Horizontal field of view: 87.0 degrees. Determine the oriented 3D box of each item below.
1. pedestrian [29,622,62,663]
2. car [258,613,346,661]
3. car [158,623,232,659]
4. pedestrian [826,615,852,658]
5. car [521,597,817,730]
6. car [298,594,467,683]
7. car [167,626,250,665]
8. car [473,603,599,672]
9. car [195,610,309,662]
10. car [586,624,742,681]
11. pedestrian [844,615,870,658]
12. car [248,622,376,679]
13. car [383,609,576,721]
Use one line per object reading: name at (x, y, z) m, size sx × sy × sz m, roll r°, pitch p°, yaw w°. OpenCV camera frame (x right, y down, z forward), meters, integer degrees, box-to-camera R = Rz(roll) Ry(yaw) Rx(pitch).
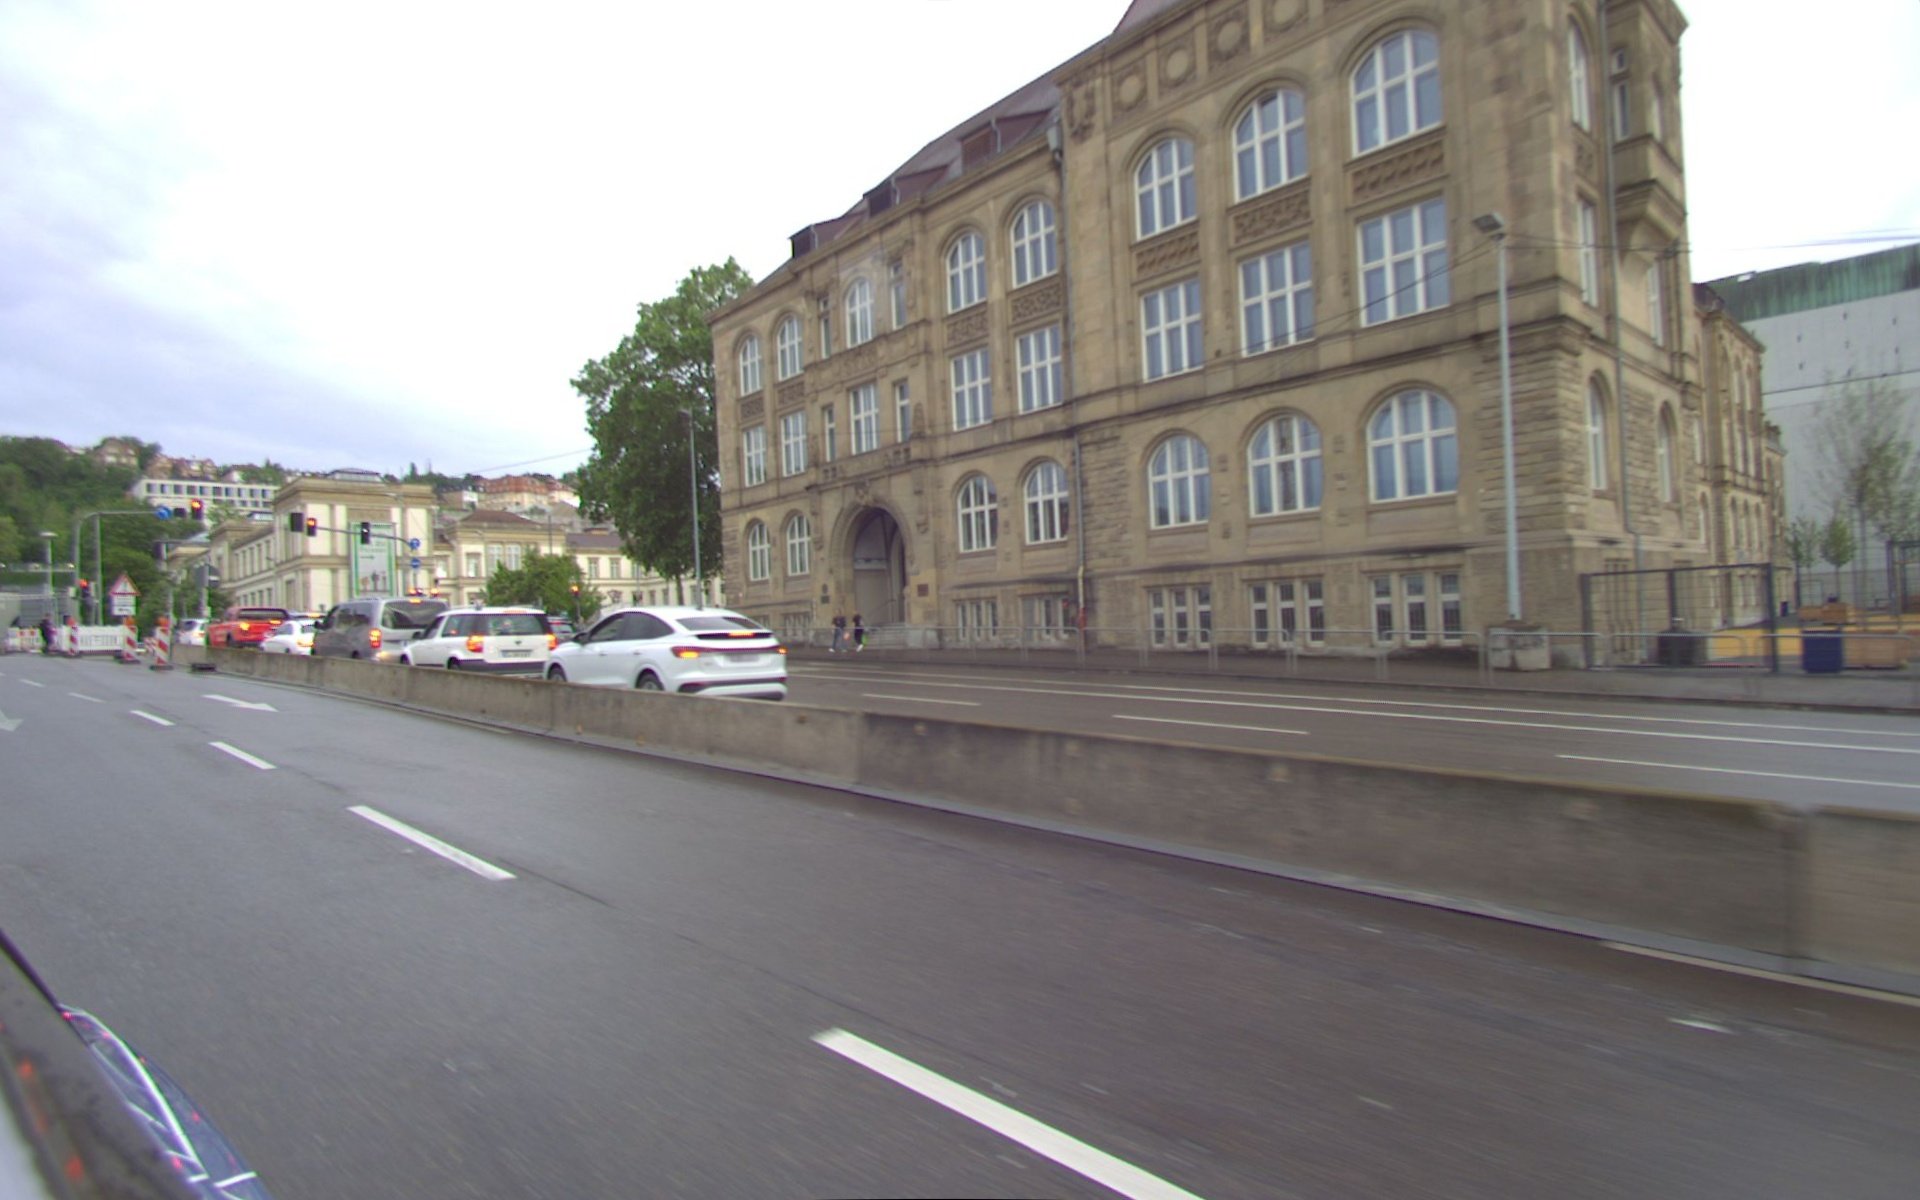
pedestrian at (-38.828, 1.789, 42.971) m, size 0.757 × 1.723 × 0.778 m, roll -1°, pitch -2°, yaw 22°
car at (-26.111, 1.457, 40.078) m, size 4.617 × 1.808 × 1.971 m, roll -2°, pitch -2°, yaw 45°
car at (-33.258, 1.750, 43.956) m, size 4.348 × 1.482 × 1.971 m, roll -2°, pitch -2°, yaw 45°
pedestrian at (-4.483, 1.345, 37.510) m, size 0.609 × 1.596 × 0.735 m, roll 2°, pitch -2°, yaw -44°
car at (-4.296, 0.830, 14.420) m, size 4.899 × 1.579 × 1.872 m, roll -2°, pitch -2°, yaw 44°
car at (-13.812, 0.899, 24.026) m, size 5.597 × 1.880 × 1.971 m, roll -2°, pitch -2°, yaw 44°
car at (-29.801, 1.766, 40.082) m, size 4.563 × 1.482 × 1.971 m, roll -2°, pitch -2°, yaw 45°
car at (-13.384, 1.176, 31.892) m, size 3.994 × 2.029 × 1.975 m, roll -1°, pitch -2°, yaw 38°
car at (-23.494, 1.186, 33.496) m, size 5.382 × 1.579 × 1.972 m, roll -2°, pitch -2°, yaw 43°
car at (-7.868, 1.334, 26.704) m, size 4.209 × 1.393 × 1.973 m, roll -2°, pitch -2°, yaw 40°
pedestrian at (-3.882, 1.387, 38.118) m, size 0.734 × 1.596 × 0.610 m, roll -2°, pitch -2°, yaw 39°
car at (-18.748, 1.410, 29.169) m, size 4.822 × 1.513 × 1.972 m, roll -2°, pitch -2°, yaw 43°
car at (-9.229, 1.162, 19.274) m, size 4.380 × 1.880 × 1.888 m, roll -2°, pitch -2°, yaw 44°
